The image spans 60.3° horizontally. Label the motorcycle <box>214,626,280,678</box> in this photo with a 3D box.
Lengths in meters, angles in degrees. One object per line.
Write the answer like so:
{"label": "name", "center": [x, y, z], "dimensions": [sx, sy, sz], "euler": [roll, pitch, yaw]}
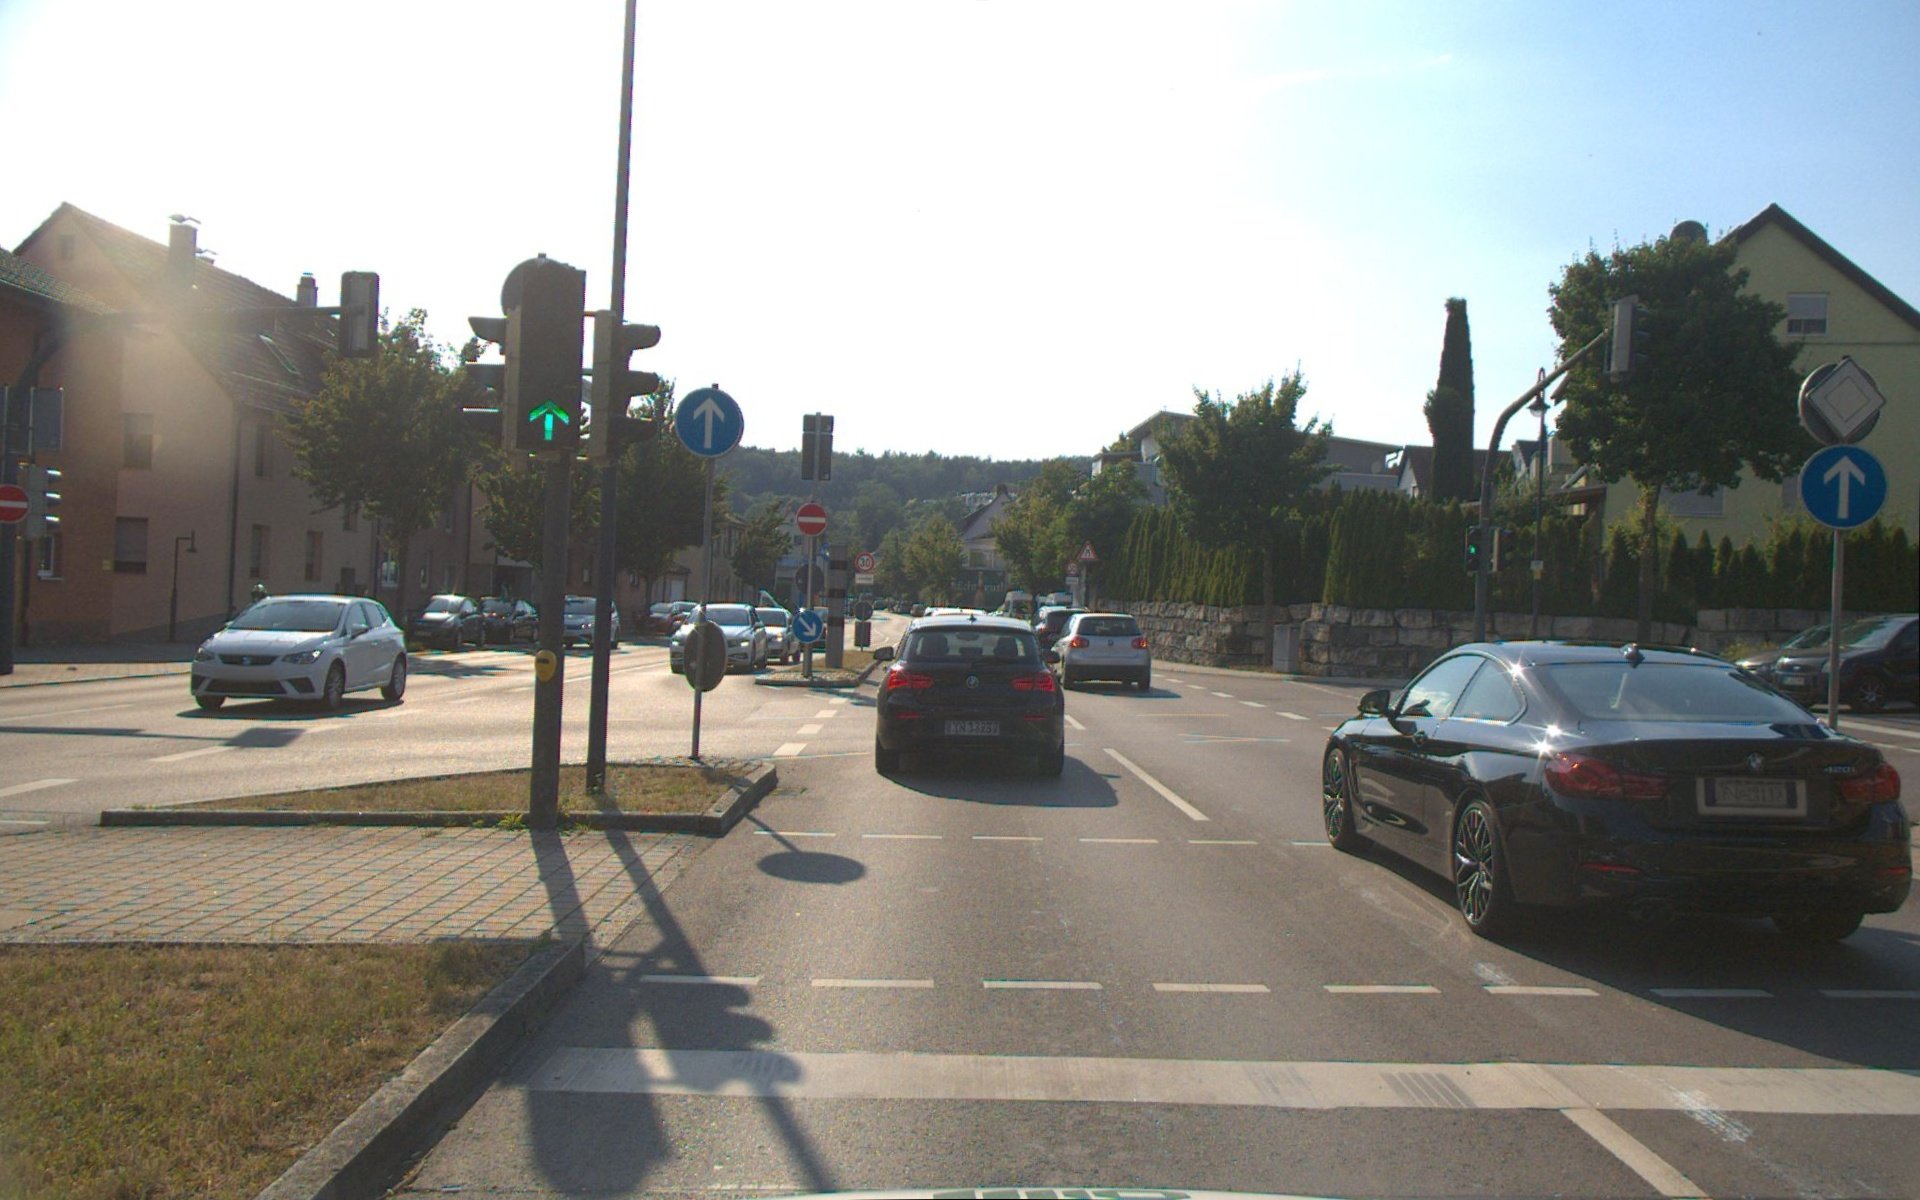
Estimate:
{"label": "motorcycle", "center": [-12.857, 0.926, 29.863], "dimensions": [0.404, 0.875, 1.763], "euler": [1, 0, 0]}

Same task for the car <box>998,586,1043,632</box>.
{"label": "car", "center": [3.776, 0.536, 104.772], "dimensions": [2.107, 2.727, 6.598], "euler": [1, 0, -4]}

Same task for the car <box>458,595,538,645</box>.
{"label": "car", "center": [-15.130, 0.633, 54.304], "dimensions": [1.586, 1.537, 4.131], "euler": [1, 0, -3]}

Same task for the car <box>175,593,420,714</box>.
{"label": "car", "center": [-8.726, 0.647, 22.163], "dimensions": [1.722, 1.436, 3.999], "euler": [1, 0, -2]}

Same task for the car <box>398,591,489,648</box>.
{"label": "car", "center": [-15.073, 0.545, 48.416], "dimensions": [1.481, 1.537, 3.884], "euler": [3, 0, -2]}

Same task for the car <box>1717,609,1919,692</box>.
{"label": "car", "center": [16.085, 0.910, 30.511], "dimensions": [3.528, 1.475, 1.625], "euler": [0, -1, -5]}

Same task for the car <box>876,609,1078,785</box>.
{"label": "car", "center": [0.103, 0.853, 16.137], "dimensions": [1.736, 1.482, 3.514], "euler": [1, 0, -2]}

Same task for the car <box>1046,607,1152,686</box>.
{"label": "car", "center": [2.735, 0.896, 33.095], "dimensions": [1.718, 1.438, 3.421], "euler": [1, 0, -2]}

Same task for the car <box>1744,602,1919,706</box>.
{"label": "car", "center": [14.686, 0.848, 26.294], "dimensions": [3.711, 1.569, 1.597], "euler": [1, 0, -3]}

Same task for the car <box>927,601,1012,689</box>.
{"label": "car", "center": [0.135, 0.853, 33.189], "dimensions": [1.559, 1.628, 3.892], "euler": [1, 0, -2]}

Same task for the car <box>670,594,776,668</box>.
{"label": "car", "center": [-5.298, 0.654, 37.437], "dimensions": [1.798, 1.514, 4.565], "euler": [1, 0, -1]}

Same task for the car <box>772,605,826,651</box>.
{"label": "car", "center": [-5.614, 0.949, 57.850], "dimensions": [1.501, 1.487, 3.506], "euler": [1, 0, 0]}

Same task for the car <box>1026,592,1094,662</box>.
{"label": "car", "center": [2.695, 0.712, 45.102], "dimensions": [1.570, 1.798, 3.410], "euler": [1, 0, 0]}

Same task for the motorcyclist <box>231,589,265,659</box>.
{"label": "motorcyclist", "center": [-12.849, 0.433, 29.842], "dimensions": [0.395, 1.250, 0.461], "euler": [1, 0, -1]}

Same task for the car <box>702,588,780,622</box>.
{"label": "car", "center": [-17.747, 0.402, 134.149], "dimensions": [6.035, 2.487, 2.248], "euler": [2, 0, -3]}

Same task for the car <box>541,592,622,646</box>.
{"label": "car", "center": [-12.254, 0.590, 53.759], "dimensions": [1.651, 1.640, 4.412], "euler": [1, 0, -1]}

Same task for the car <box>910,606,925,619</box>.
{"label": "car", "center": [-5.164, 1.470, 200.145], "dimensions": [1.565, 1.511, 3.472], "euler": [2, 0, -4]}

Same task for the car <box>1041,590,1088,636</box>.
{"label": "car", "center": [6.610, 0.795, 105.256], "dimensions": [2.070, 2.769, 6.437], "euler": [1, 0, -4]}

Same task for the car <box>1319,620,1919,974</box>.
{"label": "car", "center": [3.311, 0.853, 9.048], "dimensions": [1.665, 1.393, 4.261], "euler": [1, 0, -2]}

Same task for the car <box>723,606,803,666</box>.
{"label": "car", "center": [-5.100, 0.919, 43.198], "dimensions": [1.556, 1.452, 3.578], "euler": [1, -1, 1]}
